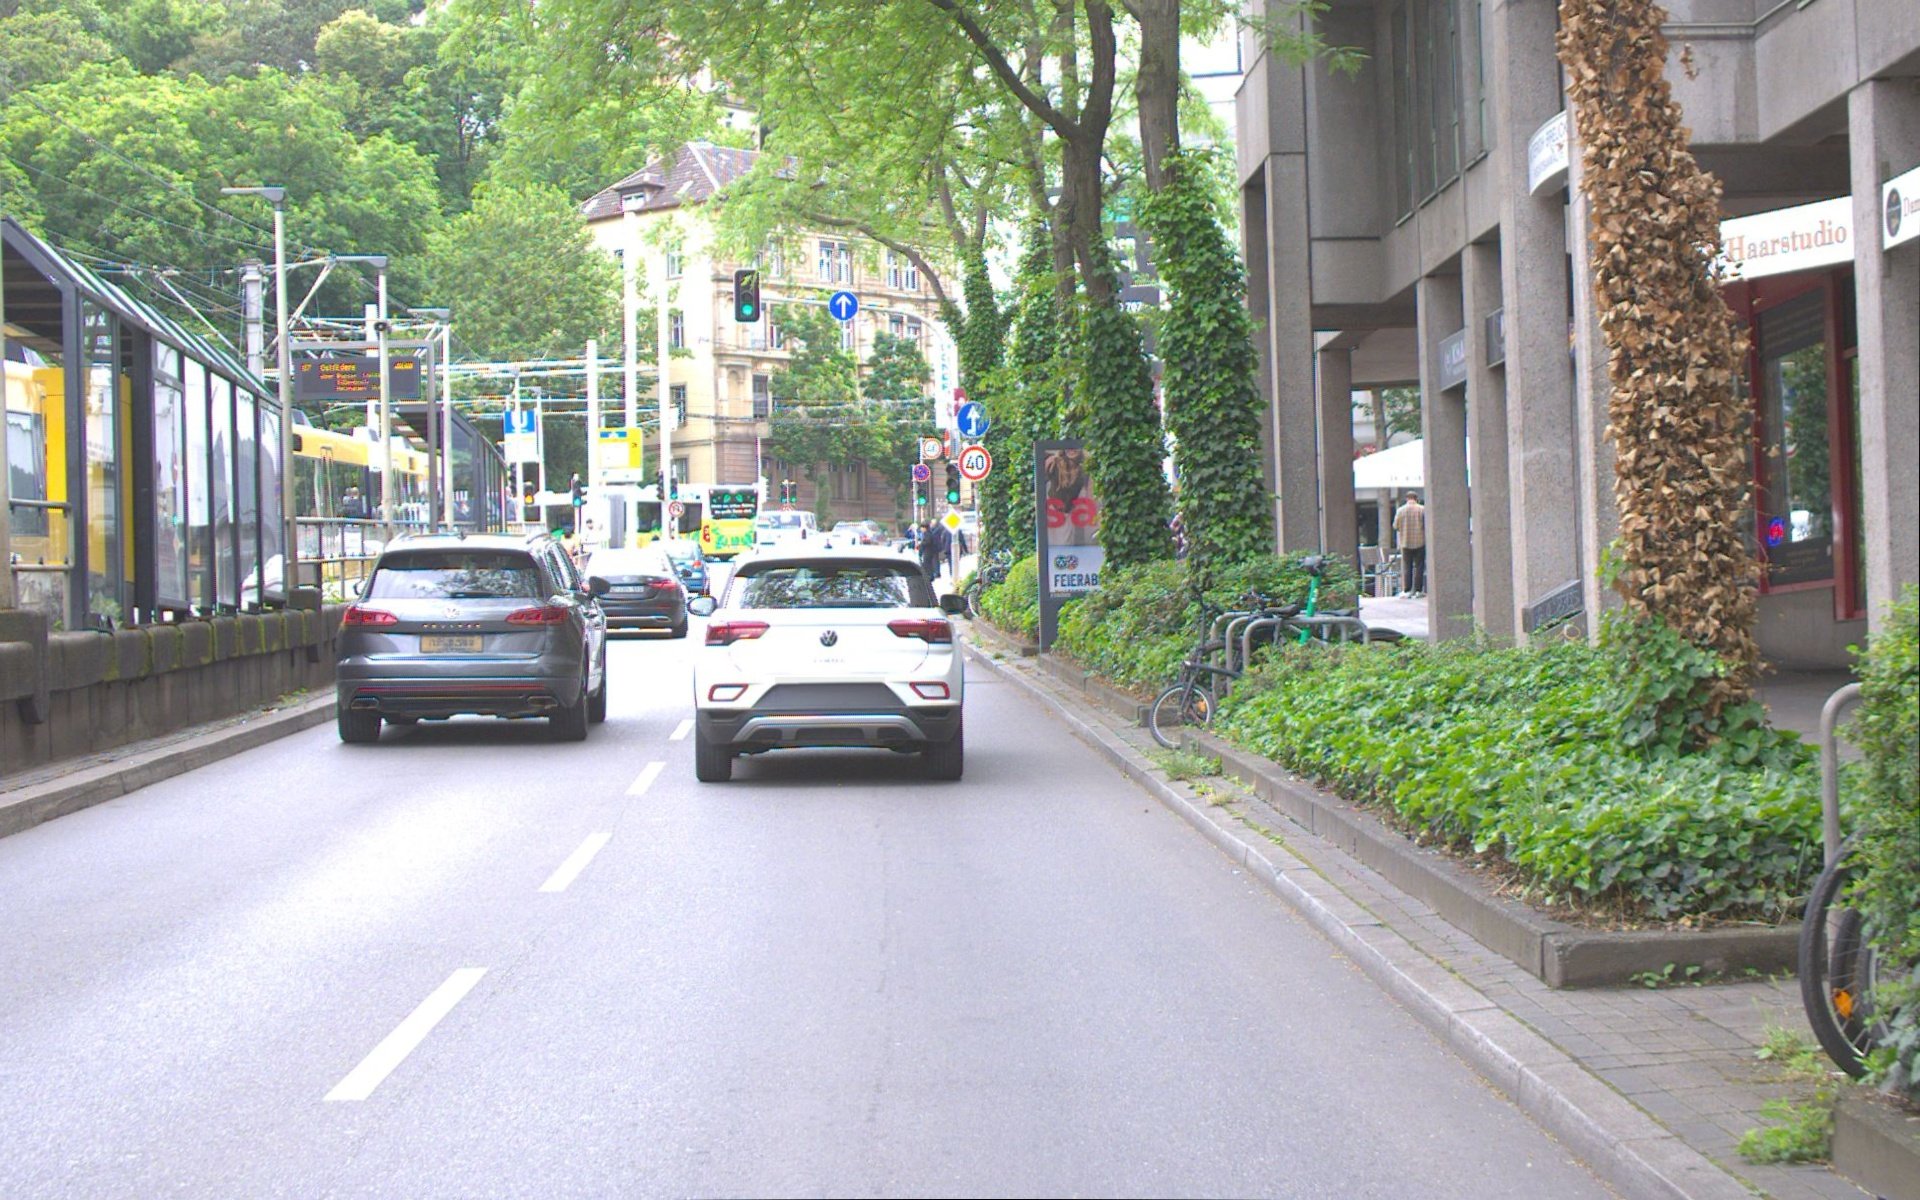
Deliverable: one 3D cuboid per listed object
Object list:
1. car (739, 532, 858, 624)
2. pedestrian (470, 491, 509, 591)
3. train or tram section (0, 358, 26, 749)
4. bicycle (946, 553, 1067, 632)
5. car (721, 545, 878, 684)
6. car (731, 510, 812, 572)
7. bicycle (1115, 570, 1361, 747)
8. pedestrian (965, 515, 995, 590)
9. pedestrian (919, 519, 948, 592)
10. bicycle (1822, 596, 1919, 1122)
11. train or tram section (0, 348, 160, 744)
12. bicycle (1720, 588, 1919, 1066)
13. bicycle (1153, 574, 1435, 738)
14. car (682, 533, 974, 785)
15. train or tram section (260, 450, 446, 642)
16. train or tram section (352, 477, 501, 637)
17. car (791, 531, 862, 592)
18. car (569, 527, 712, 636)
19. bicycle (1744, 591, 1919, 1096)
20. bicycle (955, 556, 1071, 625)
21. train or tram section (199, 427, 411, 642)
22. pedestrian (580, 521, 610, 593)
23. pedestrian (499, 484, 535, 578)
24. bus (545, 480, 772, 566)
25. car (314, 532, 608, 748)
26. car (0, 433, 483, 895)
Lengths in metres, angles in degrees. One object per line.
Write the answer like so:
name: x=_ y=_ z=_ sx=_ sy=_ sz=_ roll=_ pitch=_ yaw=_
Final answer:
car: x=-3.127 y=-0.392 z=65.818 sx=1.884 sy=1.678 sz=4.162 roll=0 pitch=-1 yaw=-8
pedestrian: x=-9.544 y=-1.194 z=69.740 sx=0.762 sy=2.007 sz=0.838 roll=0 pitch=-1 yaw=-9
train or tram section: x=-9.976 y=-0.407 z=28.819 sx=2.835 sy=3.509 sz=5.752 roll=0 pitch=0 yaw=-1
bicycle: x=0.757 y=-0.114 z=55.782 sx=1.881 sy=1.262 sz=0.764 roll=0 pitch=-1 yaw=9
car: x=-2.012 y=0.202 z=43.566 sx=1.884 sy=1.678 sz=4.161 roll=0 pitch=-1 yaw=-2
car: x=-6.477 y=-2.016 z=118.849 sx=2.365 sy=2.007 sz=5.147 roll=0 pitch=-1 yaw=2
bicycle: x=1.915 y=0.396 z=23.823 sx=1.620 sy=1.124 sz=0.613 roll=-3 pitch=0 yaw=2
pedestrian: x=0.547 y=-1.269 z=92.246 sx=0.762 sy=2.007 sz=0.838 roll=0 pitch=-1 yaw=4
pedestrian: x=-0.742 y=-1.244 z=96.310 sx=0.762 sy=2.007 sz=0.838 roll=0 pitch=-1 yaw=4
bicycle: x=2.957 y=0.547 z=8.084 sx=1.707 sy=1.180 sz=0.449 roll=-3 pitch=0 yaw=-9
train or tram section: x=-10.099 y=-0.511 z=34.658 sx=2.813 sy=3.654 sz=5.903 roll=0 pitch=0 yaw=-1
bicycle: x=2.920 y=0.542 z=9.013 sx=1.707 sy=1.180 sz=0.449 roll=-3 pitch=0 yaw=-9
bicycle: x=2.423 y=0.399 z=25.054 sx=1.915 sy=1.073 sz=0.613 roll=-3 pitch=0 yaw=-4
car: x=-0.945 y=0.374 z=23.911 sx=1.837 sy=1.578 sz=4.157 roll=-1 pitch=0 yaw=-3
train or tram section: x=-12.021 y=-1.039 z=68.603 sx=2.813 sy=3.654 sz=6.752 roll=0 pitch=0 yaw=-3
train or tram section: x=-12.678 y=-1.001 z=82.138 sx=2.813 sy=3.654 sz=6.752 roll=0 pitch=0 yaw=-3
car: x=-3.908 y=-1.118 z=101.327 sx=1.885 sy=1.678 sz=4.161 roll=0 pitch=-1 yaw=1
car: x=-5.105 y=-0.330 z=55.330 sx=1.912 sy=1.683 sz=4.000 roll=0 pitch=1 yaw=0
bicycle: x=2.874 y=0.547 z=8.530 sx=1.707 sy=1.180 sz=0.449 roll=-3 pitch=0 yaw=-9
bicycle: x=0.884 y=-0.153 z=57.278 sx=1.881 sy=1.133 sz=0.808 roll=0 pitch=-1 yaw=5
train or tram section: x=-11.683 y=-1.130 z=61.849 sx=2.813 sy=3.654 sz=6.752 roll=0 pitch=0 yaw=-3
pedestrian: x=-10.284 y=-1.198 z=96.956 sx=0.762 sy=2.007 sz=0.838 roll=0 pitch=-1 yaw=-1
pedestrian: x=-9.548 y=-1.485 z=74.103 sx=0.762 sy=2.007 sz=0.838 roll=0 pitch=-1 yaw=-9
bus: x=-12.488 y=-3.050 z=140.532 sx=3.372 sy=3.054 sz=13.323 roll=0 pitch=-1 yaw=-33
car: x=-4.028 y=0.276 z=28.352 sx=1.993 sy=1.630 sz=4.001 roll=-1 pitch=1 yaw=-2
car: x=-3.979 y=0.310 z=17.537 sx=2.364 sy=2.007 sz=5.148 roll=0 pitch=-1 yaw=0
